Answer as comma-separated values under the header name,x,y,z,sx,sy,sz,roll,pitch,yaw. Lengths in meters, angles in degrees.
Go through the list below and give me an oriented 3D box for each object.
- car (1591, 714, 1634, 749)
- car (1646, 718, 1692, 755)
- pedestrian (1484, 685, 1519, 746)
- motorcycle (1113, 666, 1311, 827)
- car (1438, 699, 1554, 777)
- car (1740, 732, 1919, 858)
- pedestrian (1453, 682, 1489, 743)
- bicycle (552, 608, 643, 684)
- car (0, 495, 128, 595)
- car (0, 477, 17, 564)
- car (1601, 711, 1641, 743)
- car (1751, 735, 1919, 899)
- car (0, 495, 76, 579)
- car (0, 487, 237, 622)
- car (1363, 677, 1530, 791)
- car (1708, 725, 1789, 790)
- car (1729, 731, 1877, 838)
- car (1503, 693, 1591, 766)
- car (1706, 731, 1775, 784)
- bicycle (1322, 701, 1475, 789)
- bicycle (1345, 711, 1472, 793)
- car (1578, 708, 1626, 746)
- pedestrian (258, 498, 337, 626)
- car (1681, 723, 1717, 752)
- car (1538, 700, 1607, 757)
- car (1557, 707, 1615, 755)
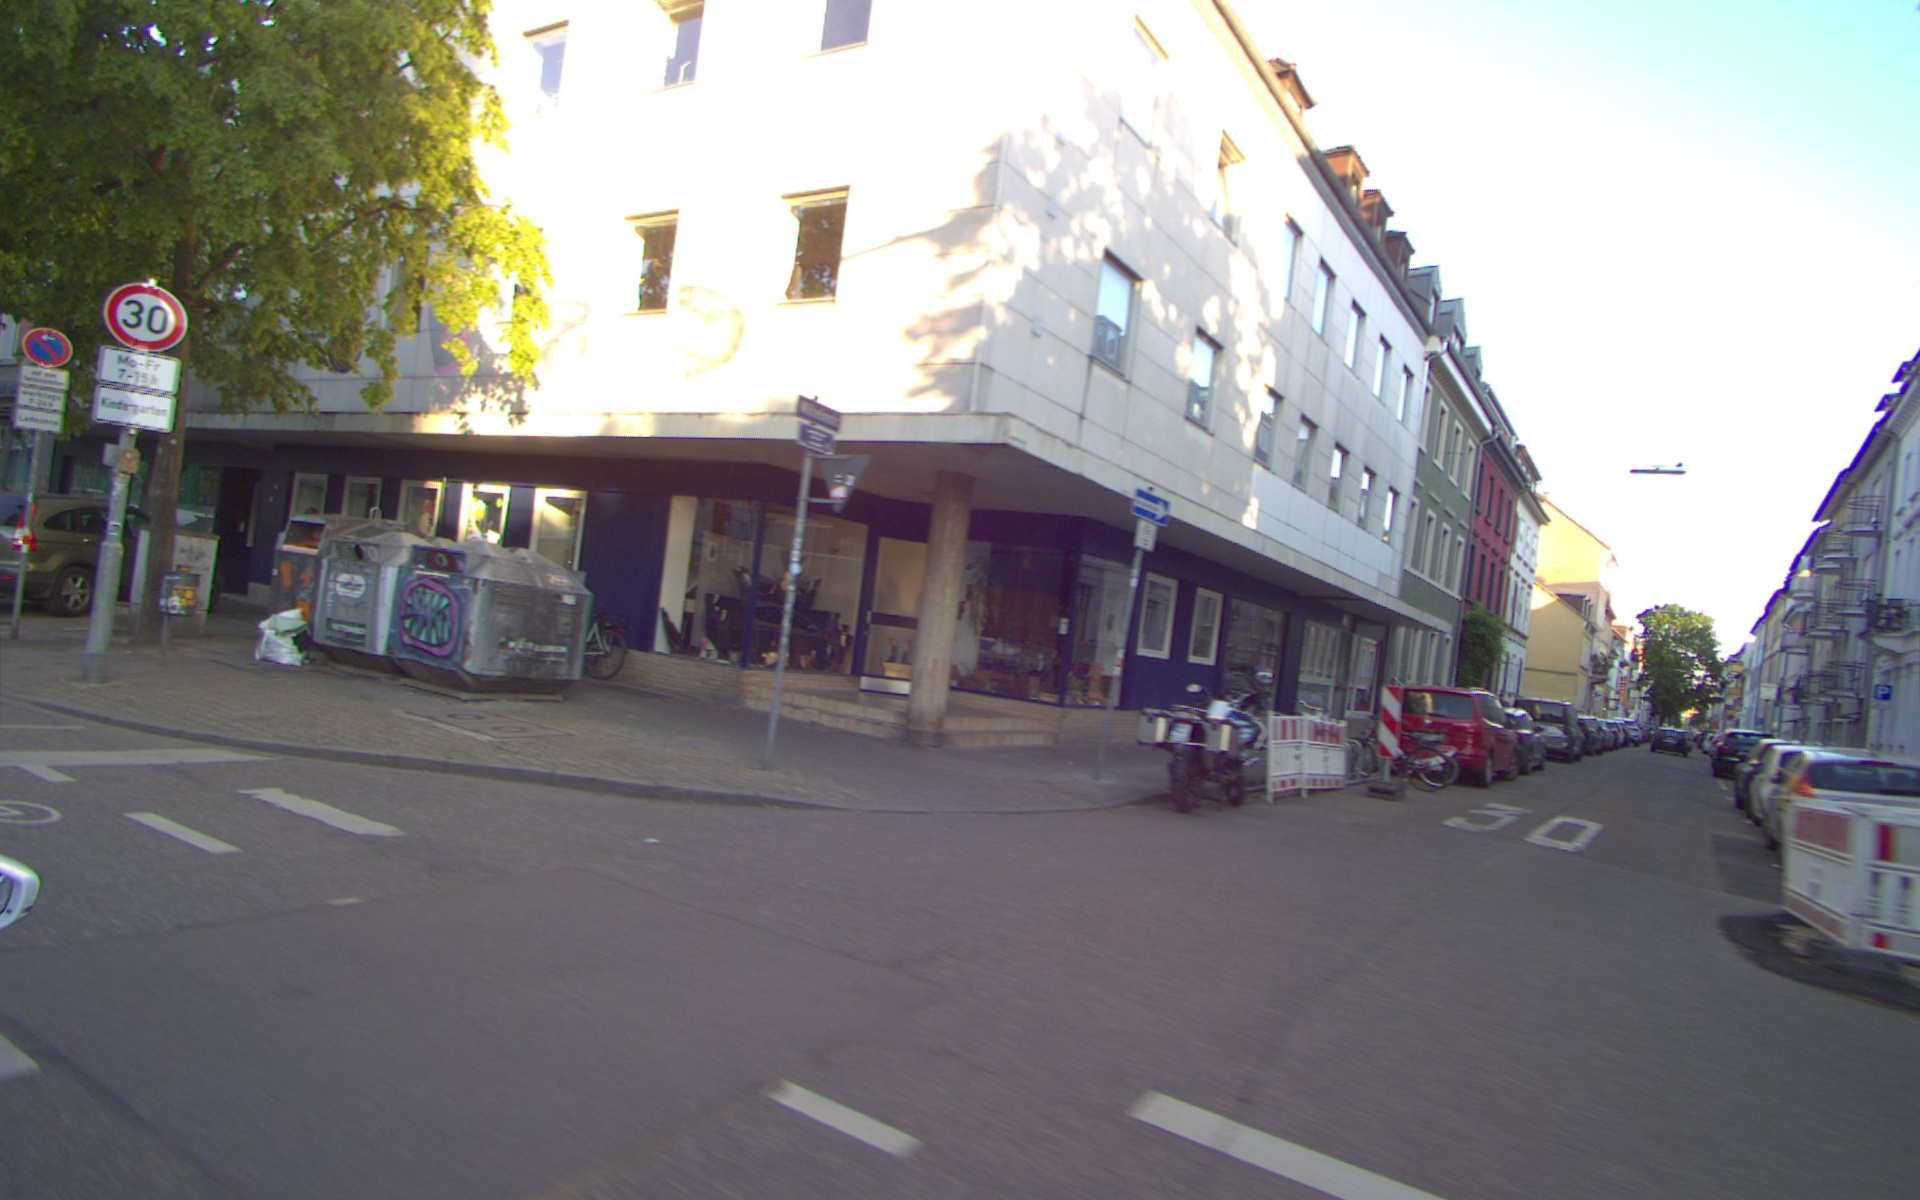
name,x,y,z,sx,sy,sz,roll,pitch,yaw
car,38.286,7.692,59.015,1.825,1.680,3.805,7,-1,36
car,38.858,7.449,55.146,1.825,1.680,3.743,7,-1,36
pedestrian,18.066,3.840,33.562,0.787,1.922,0.732,7,0,35
motorcycle,2.805,1.556,11.002,1.270,1.421,2.092,6,-2,37
car,12.750,3.219,23.808,1.825,1.402,3.888,7,-1,36
car,14.391,3.125,16.821,1.825,1.510,3.888,7,-1,36
pedestrian,17.277,3.794,34.015,0.787,1.922,0.990,7,0,35
bicycle,-5.053,0.628,14.004,1.303,0.894,0.341,7,2,27
car,-15.774,-0.938,15.991,1.780,1.521,3.891,6,1,0
car,-21.853,-1.819,19.366,2.166,1.850,4.979,6,1,12
car,41.663,7.989,63.331,1.825,1.680,3.805,7,-1,36
car,11.302,2.629,12.614,1.825,1.509,3.888,7,-1,36
car,-18.261,-1.224,17.479,1.934,1.484,4.166,6,1,2
car,-13.064,-0.698,14.906,1.809,1.685,4.162,6,1,-4
car,9.383,2.521,19.193,1.827,1.688,4.346,7,-1,39
car,27.099,5.371,34.691,1.825,1.784,3.888,7,-1,36
car,16.849,3.614,20.294,1.825,1.596,3.888,7,-1,36
car,18.146,3.957,31.019,1.825,1.826,3.888,7,-1,36
car,30.666,6.143,39.603,1.825,1.638,3.888,7,-1,36
bicycle,6.993,2.290,16.110,2.067,1.069,0.590,5,-2,39
bicycle,7.524,2.523,16.916,1.839,1.069,0.526,6,-1,27
car,34.640,6.818,54.226,1.825,1.680,3.805,7,-1,36
pedestrian,-10.918,-0.621,16.578,0.772,2.011,0.692,7,2,30
car,52.184,9.667,71.084,1.825,1.680,3.743,7,-1,36
car,23.398,4.874,38.384,1.825,1.784,3.888,7,-1,36
car,28.432,5.917,45.637,1.825,1.826,3.888,7,-1,36
